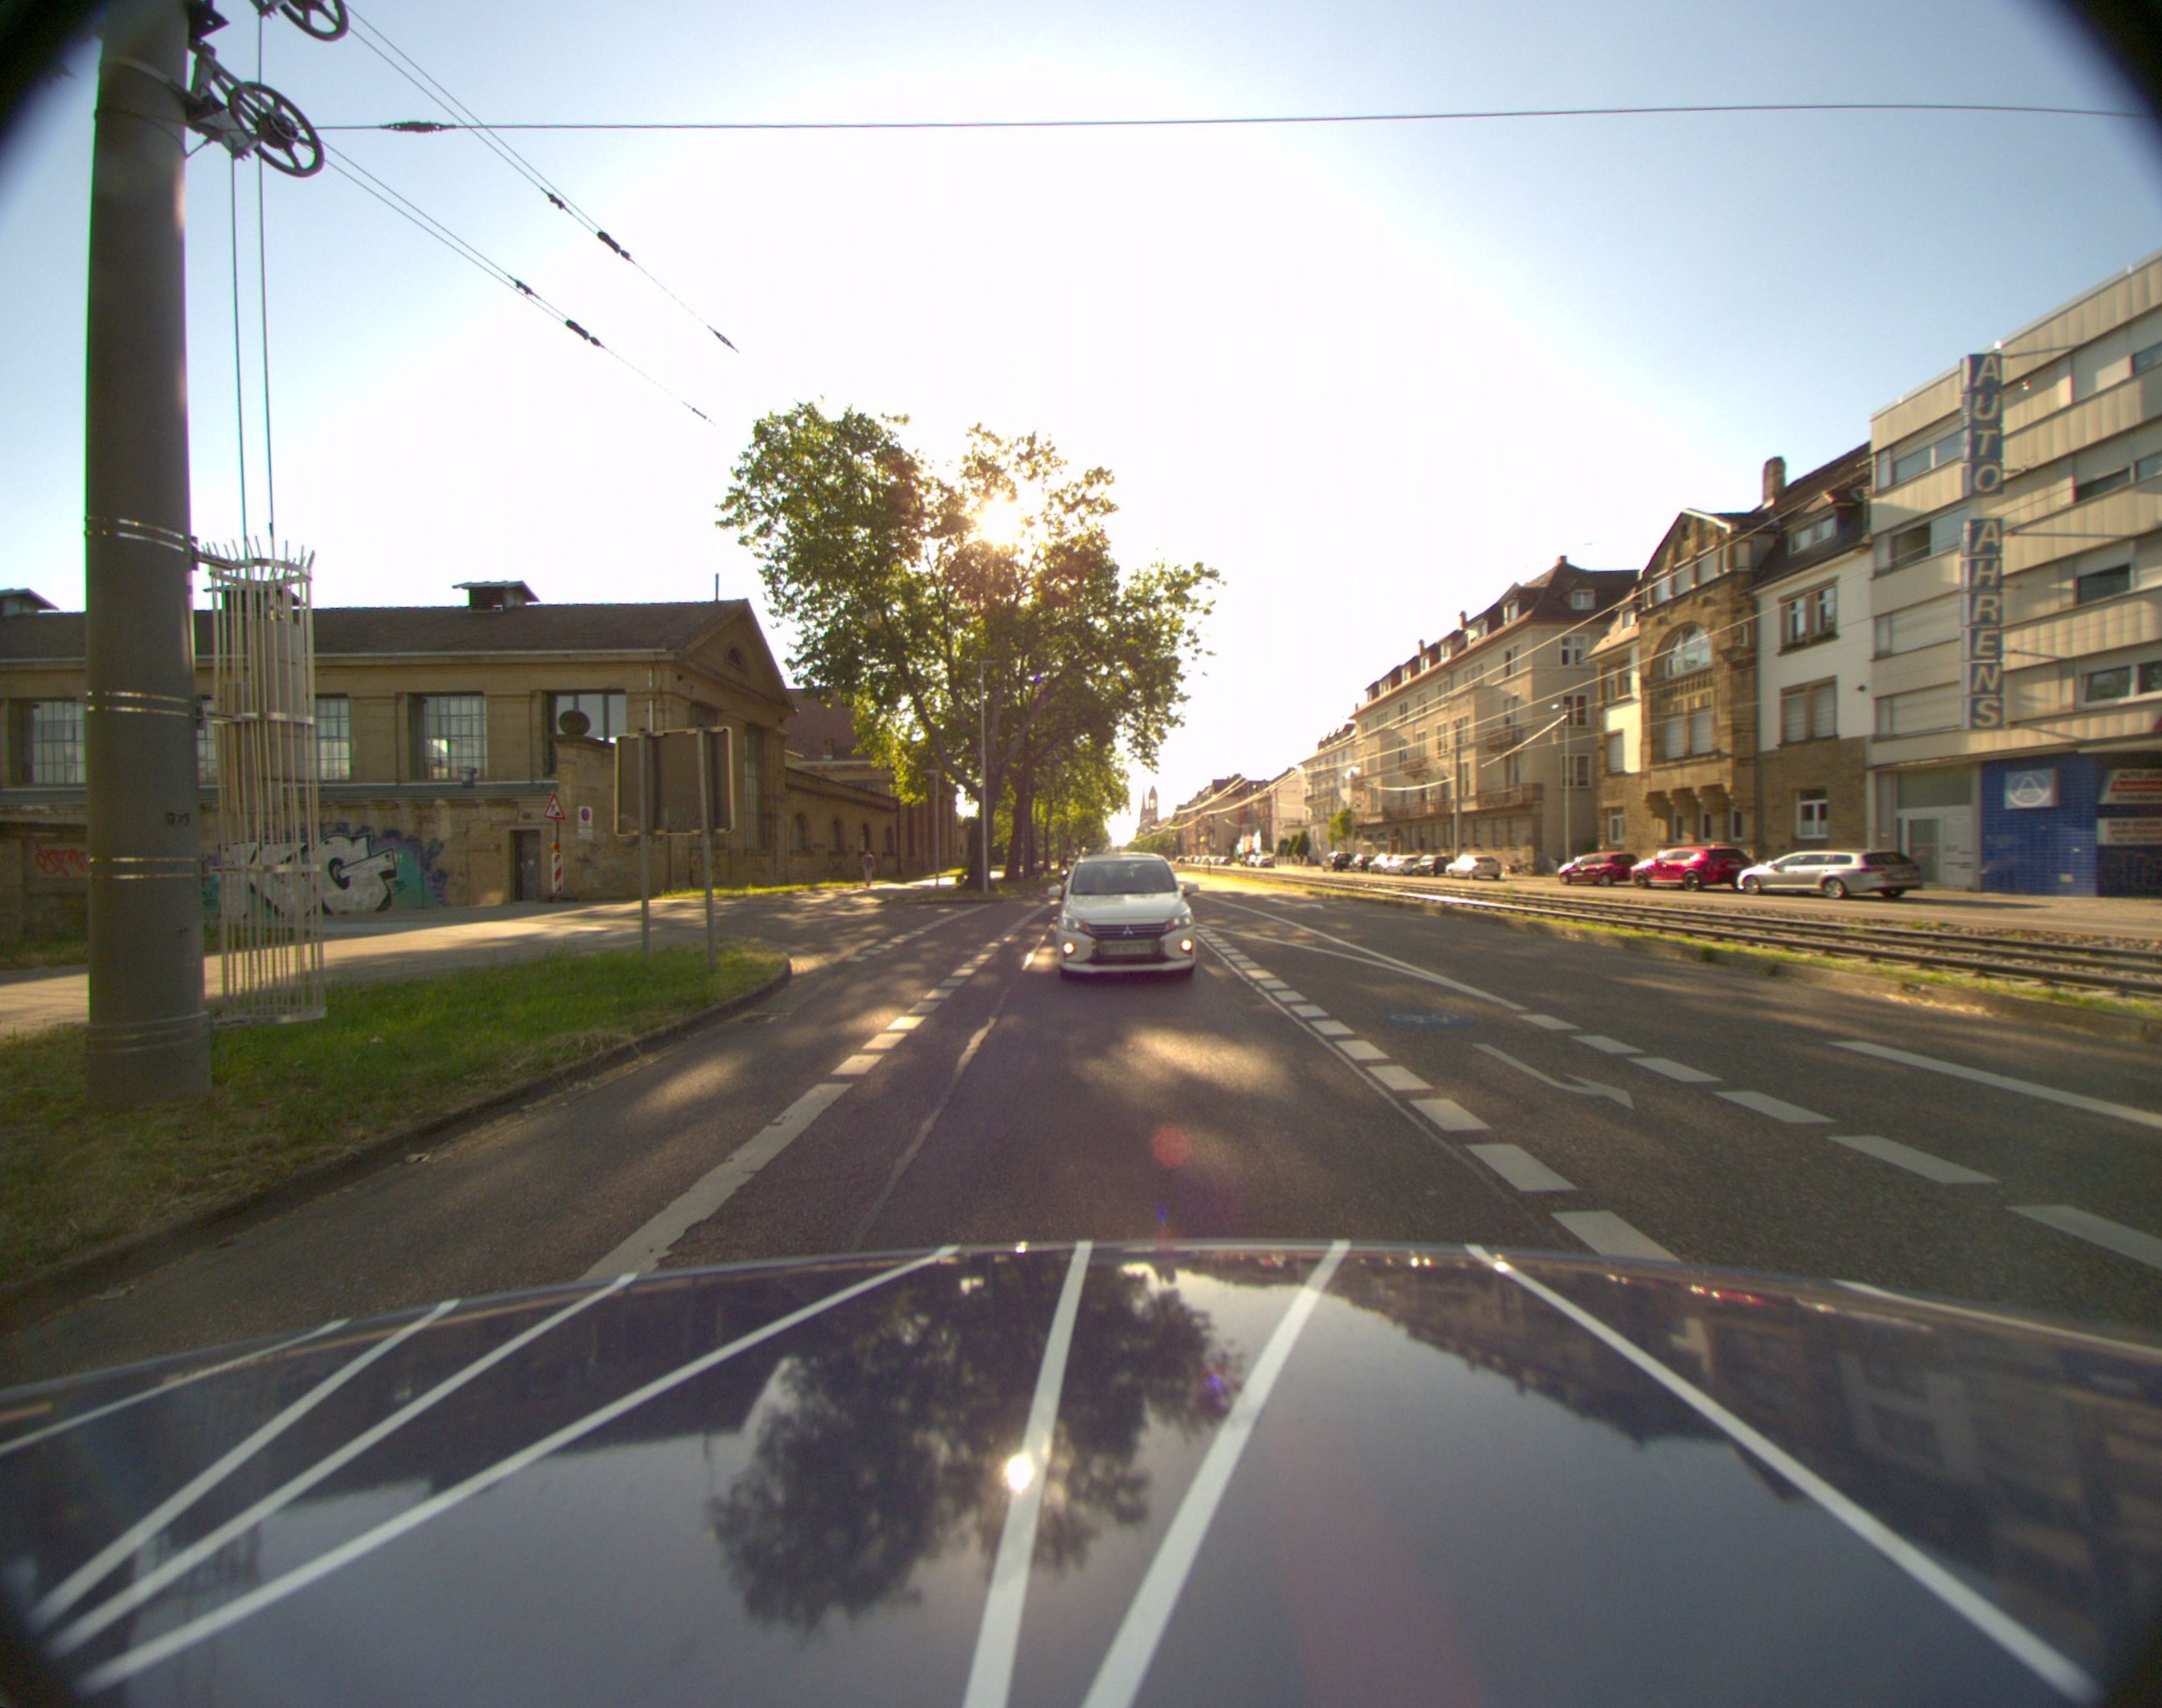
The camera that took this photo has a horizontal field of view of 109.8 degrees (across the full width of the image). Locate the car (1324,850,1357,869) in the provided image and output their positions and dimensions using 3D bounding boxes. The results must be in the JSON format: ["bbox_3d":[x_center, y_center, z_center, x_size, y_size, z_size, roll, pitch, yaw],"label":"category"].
[{"bbox_3d":[24.515,0.499,71.864,1.875,1.726,3.916,-2,0,2],"label":"car"}]

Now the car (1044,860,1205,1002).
[{"bbox_3d":[0.520,0.837,10.116,1.686,1.462,4.055,-1,0,2],"label":"car"}]

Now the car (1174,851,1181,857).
[{"bbox_3d":[28.337,0.084,224.006,1.624,1.581,3.450,-2,0,1],"label":"car"}]

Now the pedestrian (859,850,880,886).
[{"bbox_3d":[-9.594,0.626,34.527,0.672,1.652,0.874,0,1,4],"label":"pedestrian"}]

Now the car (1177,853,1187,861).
[{"bbox_3d":[21.418,0.725,161.205,1.822,1.674,4.000,-1,0,2],"label":"car"}]

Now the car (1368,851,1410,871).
[{"bbox_3d":[24.479,0.557,60.490,1.802,1.470,3.823,-2,0,2],"label":"car"}]

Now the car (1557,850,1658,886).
[{"bbox_3d":[23.578,0.607,34.188,1.756,1.487,3.728,-3,0,-5],"label":"car"}]

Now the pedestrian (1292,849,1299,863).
[{"bbox_3d":[27.164,0.239,96.059,0.725,1.779,0.678,0,1,1],"label":"pedestrian"}]

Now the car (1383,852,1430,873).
[{"bbox_3d":[23.757,0.597,55.546,1.642,1.438,3.538,-2,0,-6],"label":"car"}]

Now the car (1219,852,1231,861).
[{"bbox_3d":[25.521,0.464,134.645,1.624,1.581,3.450,-2,0,1],"label":"car"}]

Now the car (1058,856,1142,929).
[{"bbox_3d":[0.453,0.787,17.471,1.686,1.462,4.055,-1,0,2],"label":"car"}]

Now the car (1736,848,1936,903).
[{"bbox_3d":[23.283,0.610,23.711,1.860,1.490,4.382,-3,0,0],"label":"car"}]

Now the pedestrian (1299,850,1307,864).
[{"bbox_3d":[28.033,0.384,95.969,0.725,1.779,0.678,0,1,1],"label":"pedestrian"}]

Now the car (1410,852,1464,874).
[{"bbox_3d":[24.040,0.589,51.397,1.802,1.422,3.823,-2,0,0],"label":"car"}]

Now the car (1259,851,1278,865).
[{"bbox_3d":[24.259,0.506,98.430,1.677,1.622,3.408,-2,0,2],"label":"car"}]

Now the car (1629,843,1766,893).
[{"bbox_3d":[23.412,0.501,29.093,1.860,1.677,4.263,-3,0,2],"label":"car"}]

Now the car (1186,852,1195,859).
[{"bbox_3d":[26.782,0.411,186.342,1.624,1.581,3.450,-2,0,1],"label":"car"}]

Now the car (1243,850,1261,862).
[{"bbox_3d":[25.681,0.329,114.234,1.727,1.776,3.881,-2,0,1],"label":"car"}]

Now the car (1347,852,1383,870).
[{"bbox_3d":[24.800,0.563,66.444,1.802,1.470,3.823,-2,0,2],"label":"car"}]

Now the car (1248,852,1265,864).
[{"bbox_3d":[25.044,0.538,108.422,1.684,1.562,3.388,-2,0,1],"label":"car"}]

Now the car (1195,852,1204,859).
[{"bbox_3d":[27.120,0.348,173.836,1.624,1.581,3.450,-2,0,1],"label":"car"}]

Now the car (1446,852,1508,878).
[{"bbox_3d":[23.949,0.643,46.066,1.802,1.470,3.823,-2,0,2],"label":"car"}]

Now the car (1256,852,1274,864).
[{"bbox_3d":[25.144,0.567,103.843,1.684,1.562,3.388,-2,0,1],"label":"car"}]

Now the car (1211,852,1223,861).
[{"bbox_3d":[25.745,0.400,143.908,1.624,1.581,3.450,-2,0,1],"label":"car"}]

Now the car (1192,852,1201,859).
[{"bbox_3d":[27.132,0.348,178.790,1.624,1.581,3.450,-2,0,1],"label":"car"}]
